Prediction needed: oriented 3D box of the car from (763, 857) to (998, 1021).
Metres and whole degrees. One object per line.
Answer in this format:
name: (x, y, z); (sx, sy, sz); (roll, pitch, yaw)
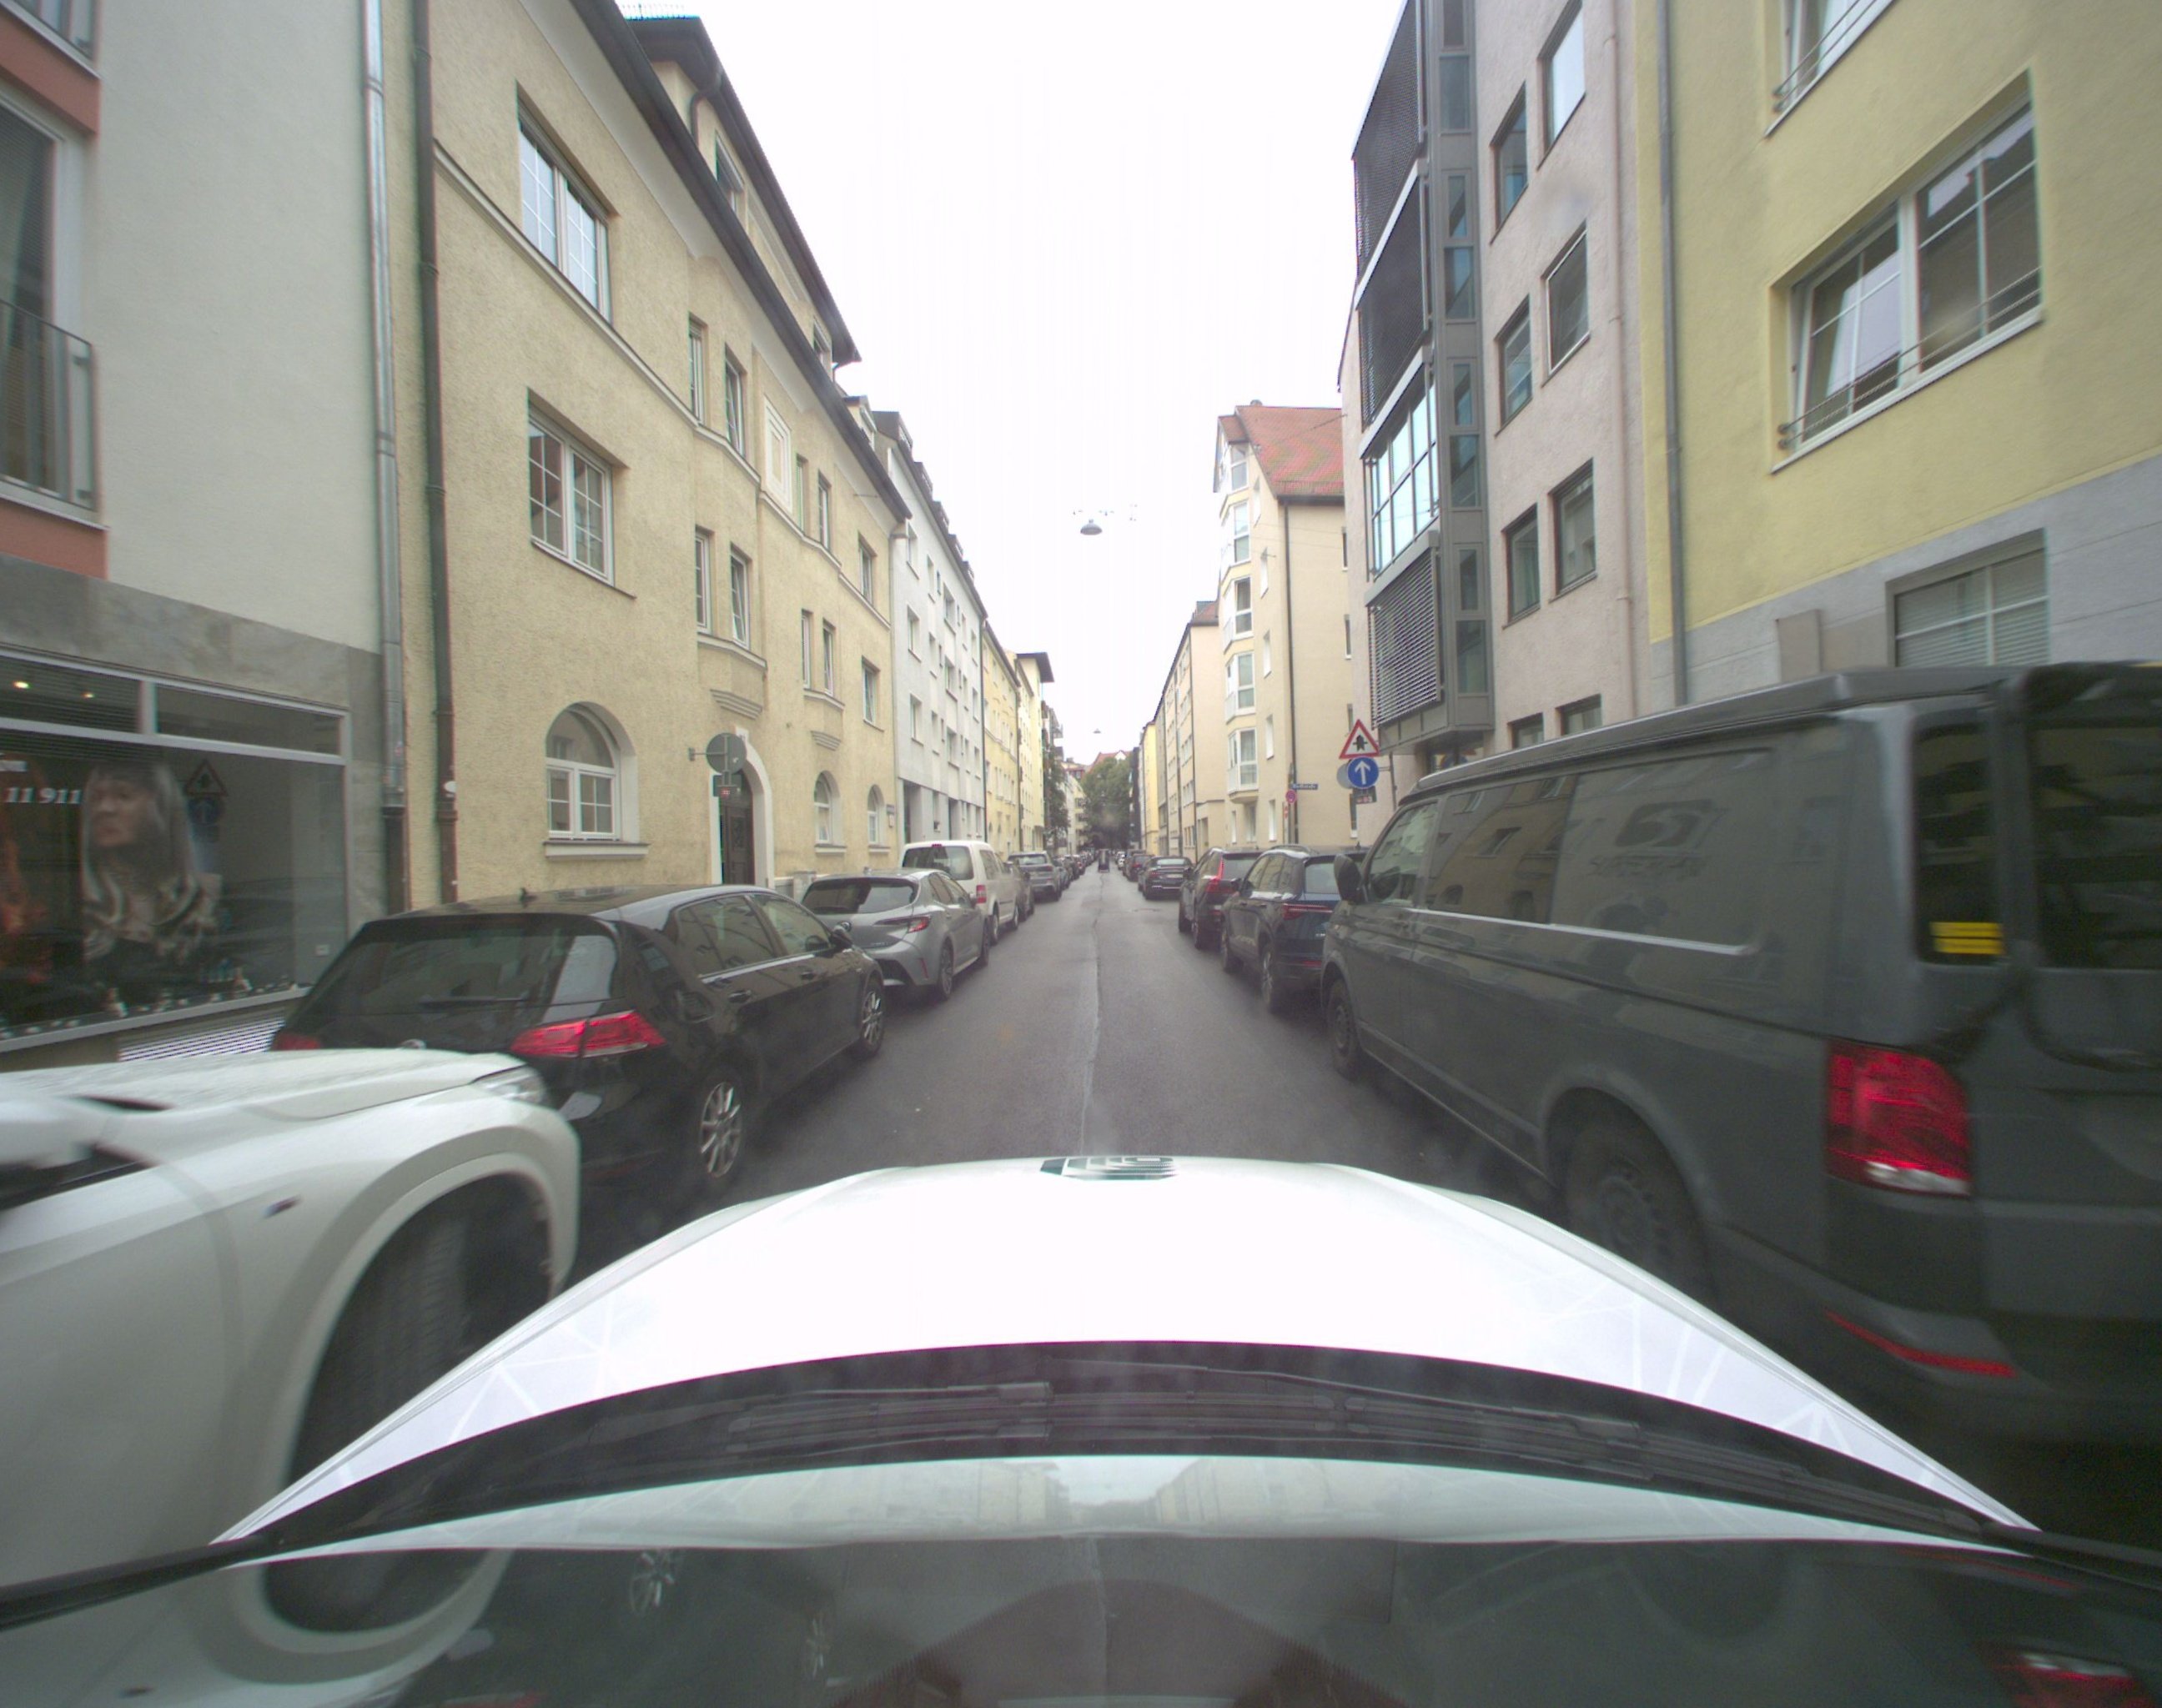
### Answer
car: (-2.182, 0.850, 10.076); (1.665, 1.475, 4.114); (-4, 0, 2)

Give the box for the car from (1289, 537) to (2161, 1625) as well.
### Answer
car: (2.606, 0.437, 4.075); (1.866, 2.014, 5.107); (-1, -1, 1)

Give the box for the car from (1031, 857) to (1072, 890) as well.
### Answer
car: (-1.366, 0.911, 39.014); (1.556, 1.460, 3.407); (-3, 0, 3)

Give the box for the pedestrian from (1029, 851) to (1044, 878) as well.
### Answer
pedestrian: (-2.939, 0.689, 53.649); (0.836, 1.764, 1.068); (-1, 0, 1)

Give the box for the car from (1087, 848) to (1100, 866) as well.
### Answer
car: (2.161, 0.493, 141.346); (1.929, 2.801, 4.534); (-4, 0, 1)

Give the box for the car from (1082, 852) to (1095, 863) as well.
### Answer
car: (1.124, 0.563, 122.768); (1.770, 1.487, 4.522); (-4, 0, 2)

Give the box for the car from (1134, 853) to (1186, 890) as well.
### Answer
car: (3.286, 0.714, 34.762); (1.712, 1.471, 4.529); (-1, 0, -1)

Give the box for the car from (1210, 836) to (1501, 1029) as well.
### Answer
car: (2.679, 0.673, 9.095); (1.826, 1.621, 4.324); (-1, 0, 1)

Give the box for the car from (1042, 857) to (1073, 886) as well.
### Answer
car: (-1.263, 0.939, 44.967); (1.558, 1.460, 3.764); (-3, 0, 0)

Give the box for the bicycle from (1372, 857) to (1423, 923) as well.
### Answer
bicycle: (5.754, 0.621, 14.853); (0.355, 1.122, 1.543); (-2, 0, 2)

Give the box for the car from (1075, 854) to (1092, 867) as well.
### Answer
car: (0.280, 0.758, 94.625); (1.686, 1.442, 3.945); (-3, 0, 2)

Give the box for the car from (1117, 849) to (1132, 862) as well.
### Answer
car: (5.292, 0.188, 99.909); (1.744, 1.469, 4.344); (1, 0, 1)

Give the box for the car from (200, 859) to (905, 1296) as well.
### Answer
car: (-2.375, 0.839, 4.940); (1.622, 1.475, 3.842); (-4, 0, 1)

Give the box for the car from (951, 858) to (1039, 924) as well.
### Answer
car: (-2.052, 0.874, 20.367); (1.646, 1.411, 3.735); (-4, -1, 1)

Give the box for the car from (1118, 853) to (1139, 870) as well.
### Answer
car: (4.628, 0.747, 79.516); (1.812, 1.408, 3.954); (-1, 3, 1)

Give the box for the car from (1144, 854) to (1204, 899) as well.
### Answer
car: (3.091, 0.715, 27.774); (1.824, 1.406, 4.416); (-1, 0, 4)

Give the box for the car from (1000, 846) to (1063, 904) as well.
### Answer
car: (-1.674, 0.711, 29.149); (1.857, 1.770, 4.735); (-4, 0, 0)

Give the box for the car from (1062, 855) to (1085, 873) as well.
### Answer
car: (-0.598, 0.806, 67.048); (1.646, 1.435, 3.804); (-3, 0, 2)

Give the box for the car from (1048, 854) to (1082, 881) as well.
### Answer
car: (-1.005, 0.859, 54.531); (1.871, 1.660, 4.418); (-3, 0, 3)

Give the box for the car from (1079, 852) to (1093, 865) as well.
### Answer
car: (0.688, 0.594, 108.455); (1.770, 1.629, 4.416); (-3, 0, 1)

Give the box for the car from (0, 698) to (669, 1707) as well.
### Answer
car: (-2.270, 0.650, 0.578); (1.776, 1.605, 4.305); (-4, 0, -2)

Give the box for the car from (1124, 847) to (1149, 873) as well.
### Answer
car: (4.388, 0.472, 64.916); (1.745, 1.975, 4.343); (1, 0, 0)

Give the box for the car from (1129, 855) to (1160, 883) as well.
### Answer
car: (3.820, 0.893, 49.328); (1.705, 1.608, 4.246); (-1, 0, 2)

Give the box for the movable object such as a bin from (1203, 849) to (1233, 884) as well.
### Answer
movable object such as a bin: (5.924, 0.540, 35.309); (1.028, 1.423, 1.587); (-4, -1, 1)

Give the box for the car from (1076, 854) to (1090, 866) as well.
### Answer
car: (0.289, 0.714, 102.488); (1.687, 1.442, 3.977); (-3, 0, 0)

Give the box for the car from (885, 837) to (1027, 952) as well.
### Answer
car: (-2.200, 0.677, 15.503); (1.717, 1.789, 4.252); (-4, 0, 3)

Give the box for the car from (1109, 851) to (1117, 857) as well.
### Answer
car: (7.351, -0.025, 186.786); (1.636, 1.383, 3.747); (0, 0, 1)

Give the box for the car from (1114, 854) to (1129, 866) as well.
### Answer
car: (5.457, 0.812, 109.817); (1.677, 1.567, 4.414); (1, 0, 0)

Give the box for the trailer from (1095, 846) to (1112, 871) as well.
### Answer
trailer: (2.051, 0.441, 73.276); (1.350, 2.116, 3.319); (-2, -1, 2)

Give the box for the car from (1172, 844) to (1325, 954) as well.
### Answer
car: (2.743, 0.680, 14.347); (1.826, 1.621, 4.411); (-1, 0, 1)

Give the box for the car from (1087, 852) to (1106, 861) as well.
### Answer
car: (3.166, 0.460, 169.650); (3.873, 1.584, 1.648); (-4, 0, 0)
